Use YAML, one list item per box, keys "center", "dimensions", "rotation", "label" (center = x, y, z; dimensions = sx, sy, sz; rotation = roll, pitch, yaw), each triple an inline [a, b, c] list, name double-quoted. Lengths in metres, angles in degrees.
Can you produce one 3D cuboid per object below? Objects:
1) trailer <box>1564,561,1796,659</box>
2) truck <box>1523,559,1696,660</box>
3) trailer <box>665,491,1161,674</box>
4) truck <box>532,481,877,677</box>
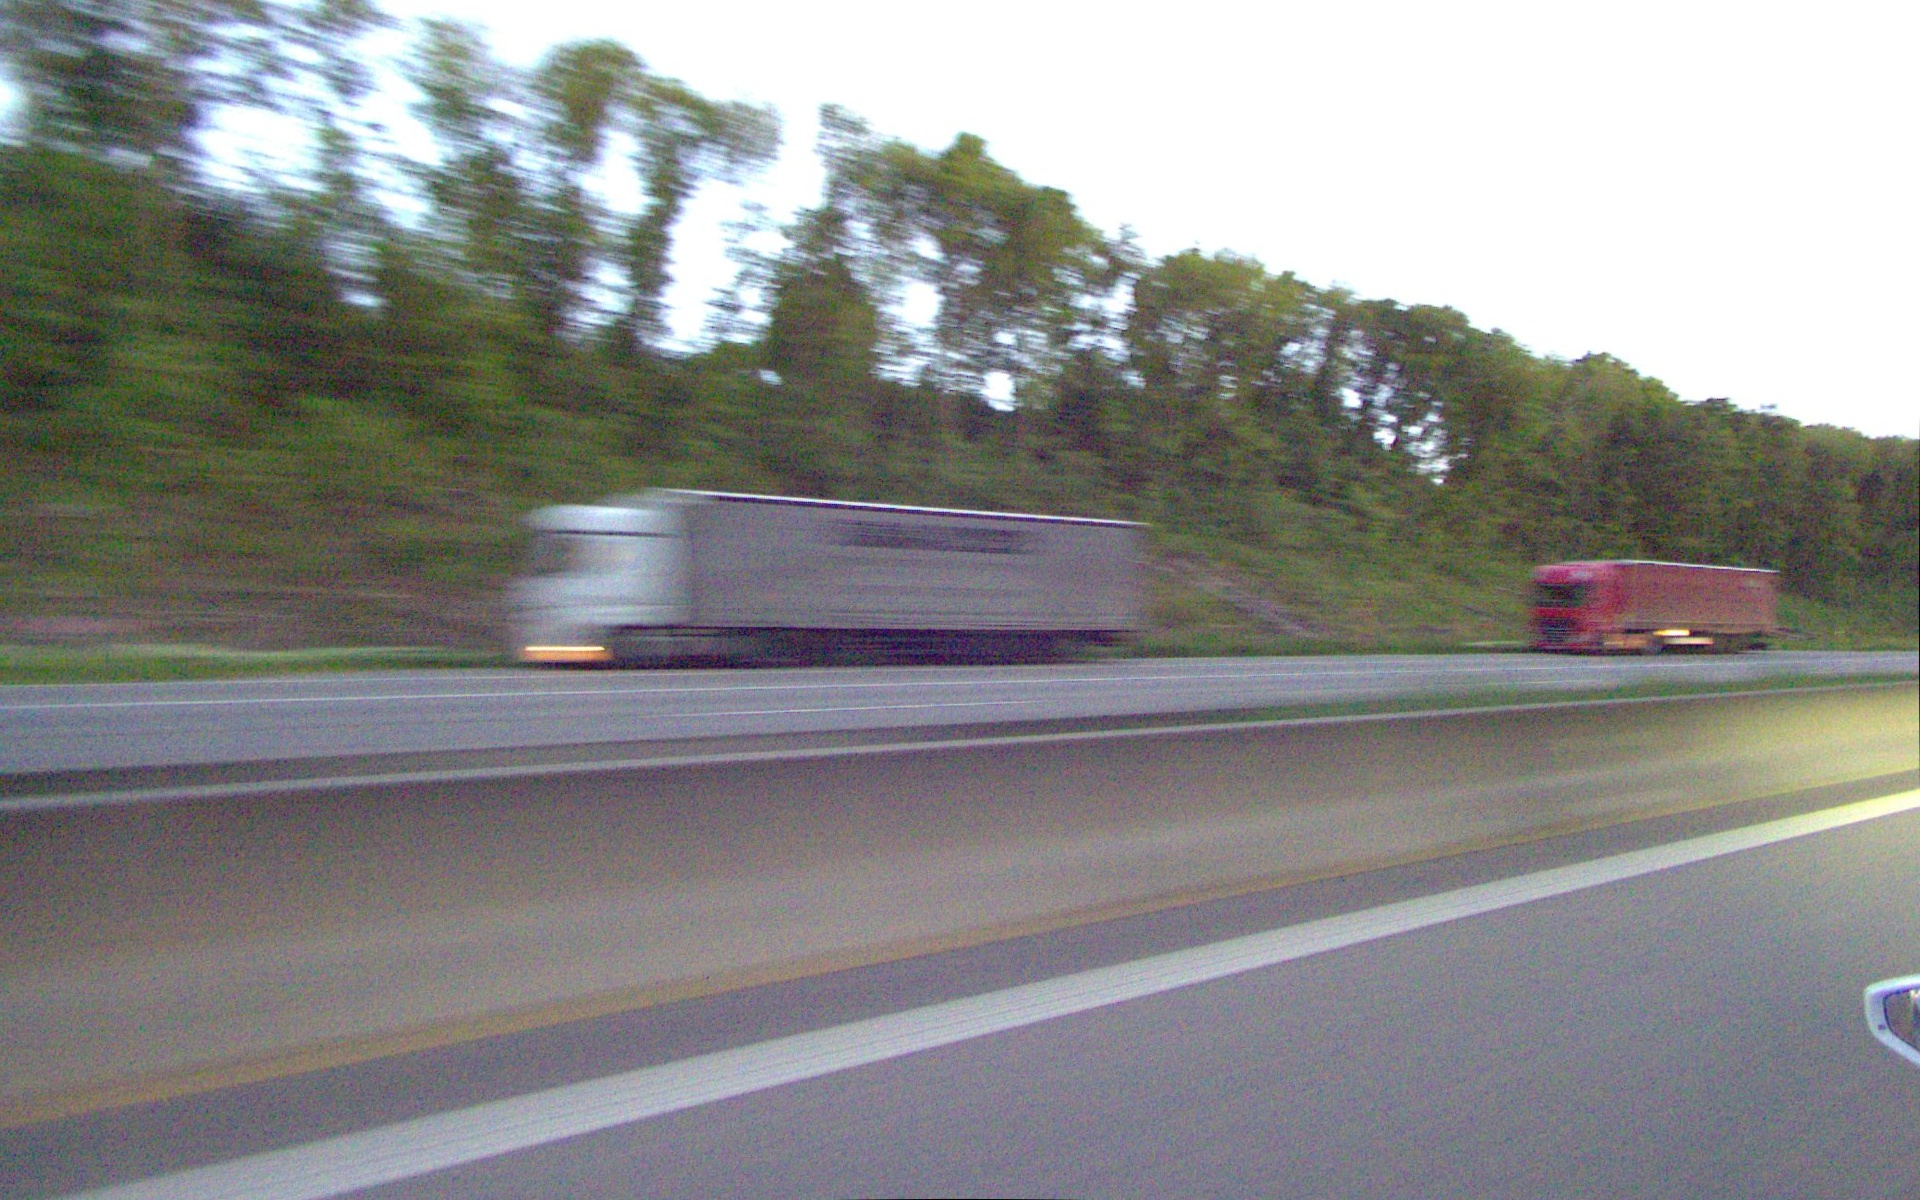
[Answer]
- center: [34.340, 0.634, 47.564]
  dimensions: [14.009, 4.159, 3.177]
  rotation: [2, -1, -29]
  label: "trailer"
- center: [28.795, 0.505, 44.485]
  dimensions: [7.595, 4.159, 3.177]
  rotation: [2, -1, -29]
  label: "truck"
- center: [-0.815, -0.197, 27.549]
  dimensions: [13.573, 4.159, 3.177]
  rotation: [2, -1, -29]
  label: "trailer"
- center: [-6.167, -0.332, 24.569]
  dimensions: [7.595, 4.159, 3.177]
  rotation: [2, -1, -29]
  label: "truck"
